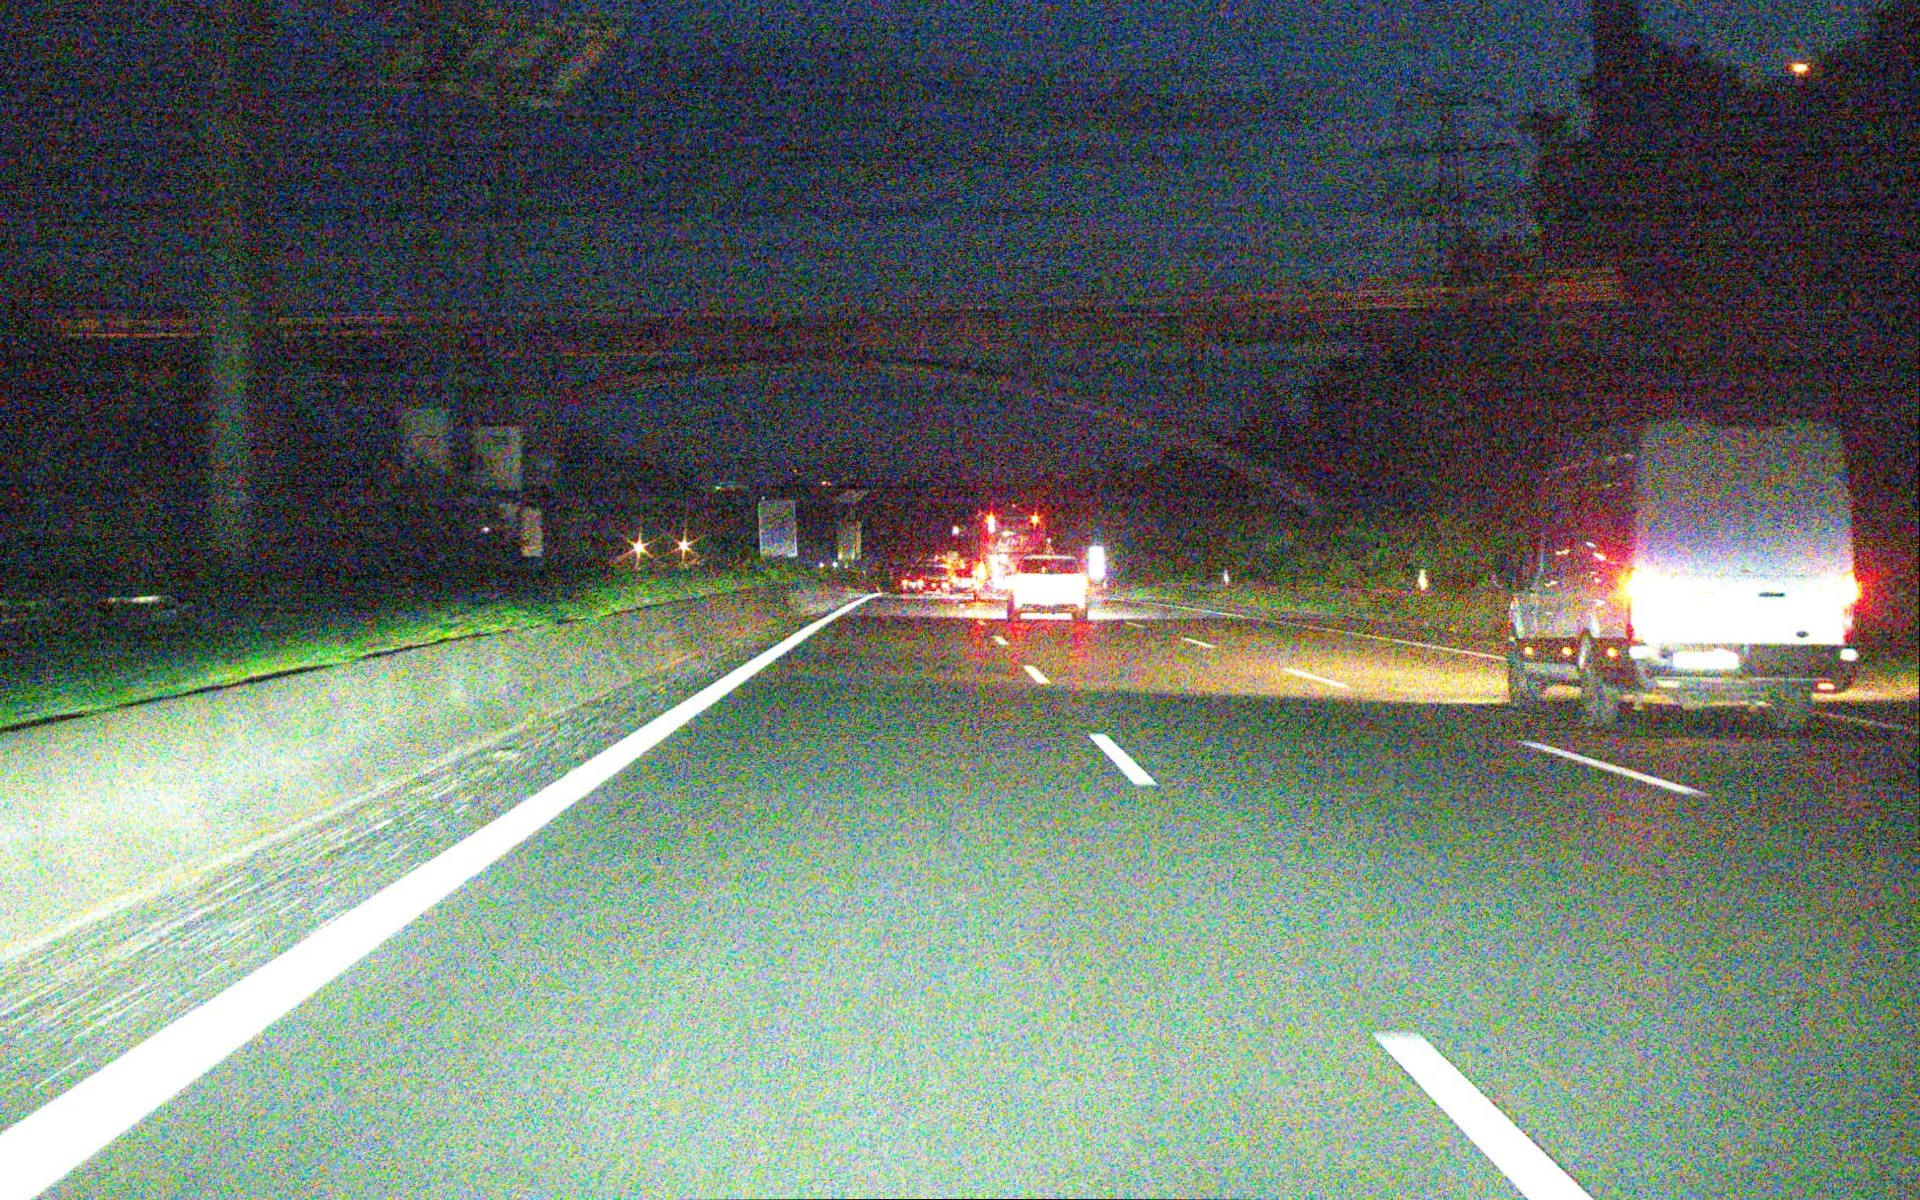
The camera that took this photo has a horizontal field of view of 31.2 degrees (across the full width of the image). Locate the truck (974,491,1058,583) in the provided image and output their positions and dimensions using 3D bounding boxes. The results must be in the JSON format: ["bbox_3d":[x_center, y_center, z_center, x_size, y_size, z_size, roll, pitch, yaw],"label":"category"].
[{"bbox_3d":[2.099,-2.499,132.821,3.044,3.313,10.143,1,2,0],"label":"truck"}]

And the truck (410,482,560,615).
[{"bbox_3d":[-17.466,-2.064,127.779,3.246,4.473,17.440,1,2,0],"label":"truck"}]

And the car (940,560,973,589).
[{"bbox_3d":[-0.165,-1.471,194.865,1.821,1.461,4.248,1,2,0],"label":"car"}]

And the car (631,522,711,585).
[{"bbox_3d":[-10.108,-1.660,120.626,2.208,2.006,6.945,1,2,0],"label":"car"}]

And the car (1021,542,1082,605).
[{"bbox_3d":[2.173,-0.643,82.196,1.346,1.382,3.502,1,2,0],"label":"car"}]

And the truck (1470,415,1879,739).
[{"bbox_3d":[6.542,-0.331,32.530,2.076,2.681,7.309,1,2,-2],"label":"truck"}]
